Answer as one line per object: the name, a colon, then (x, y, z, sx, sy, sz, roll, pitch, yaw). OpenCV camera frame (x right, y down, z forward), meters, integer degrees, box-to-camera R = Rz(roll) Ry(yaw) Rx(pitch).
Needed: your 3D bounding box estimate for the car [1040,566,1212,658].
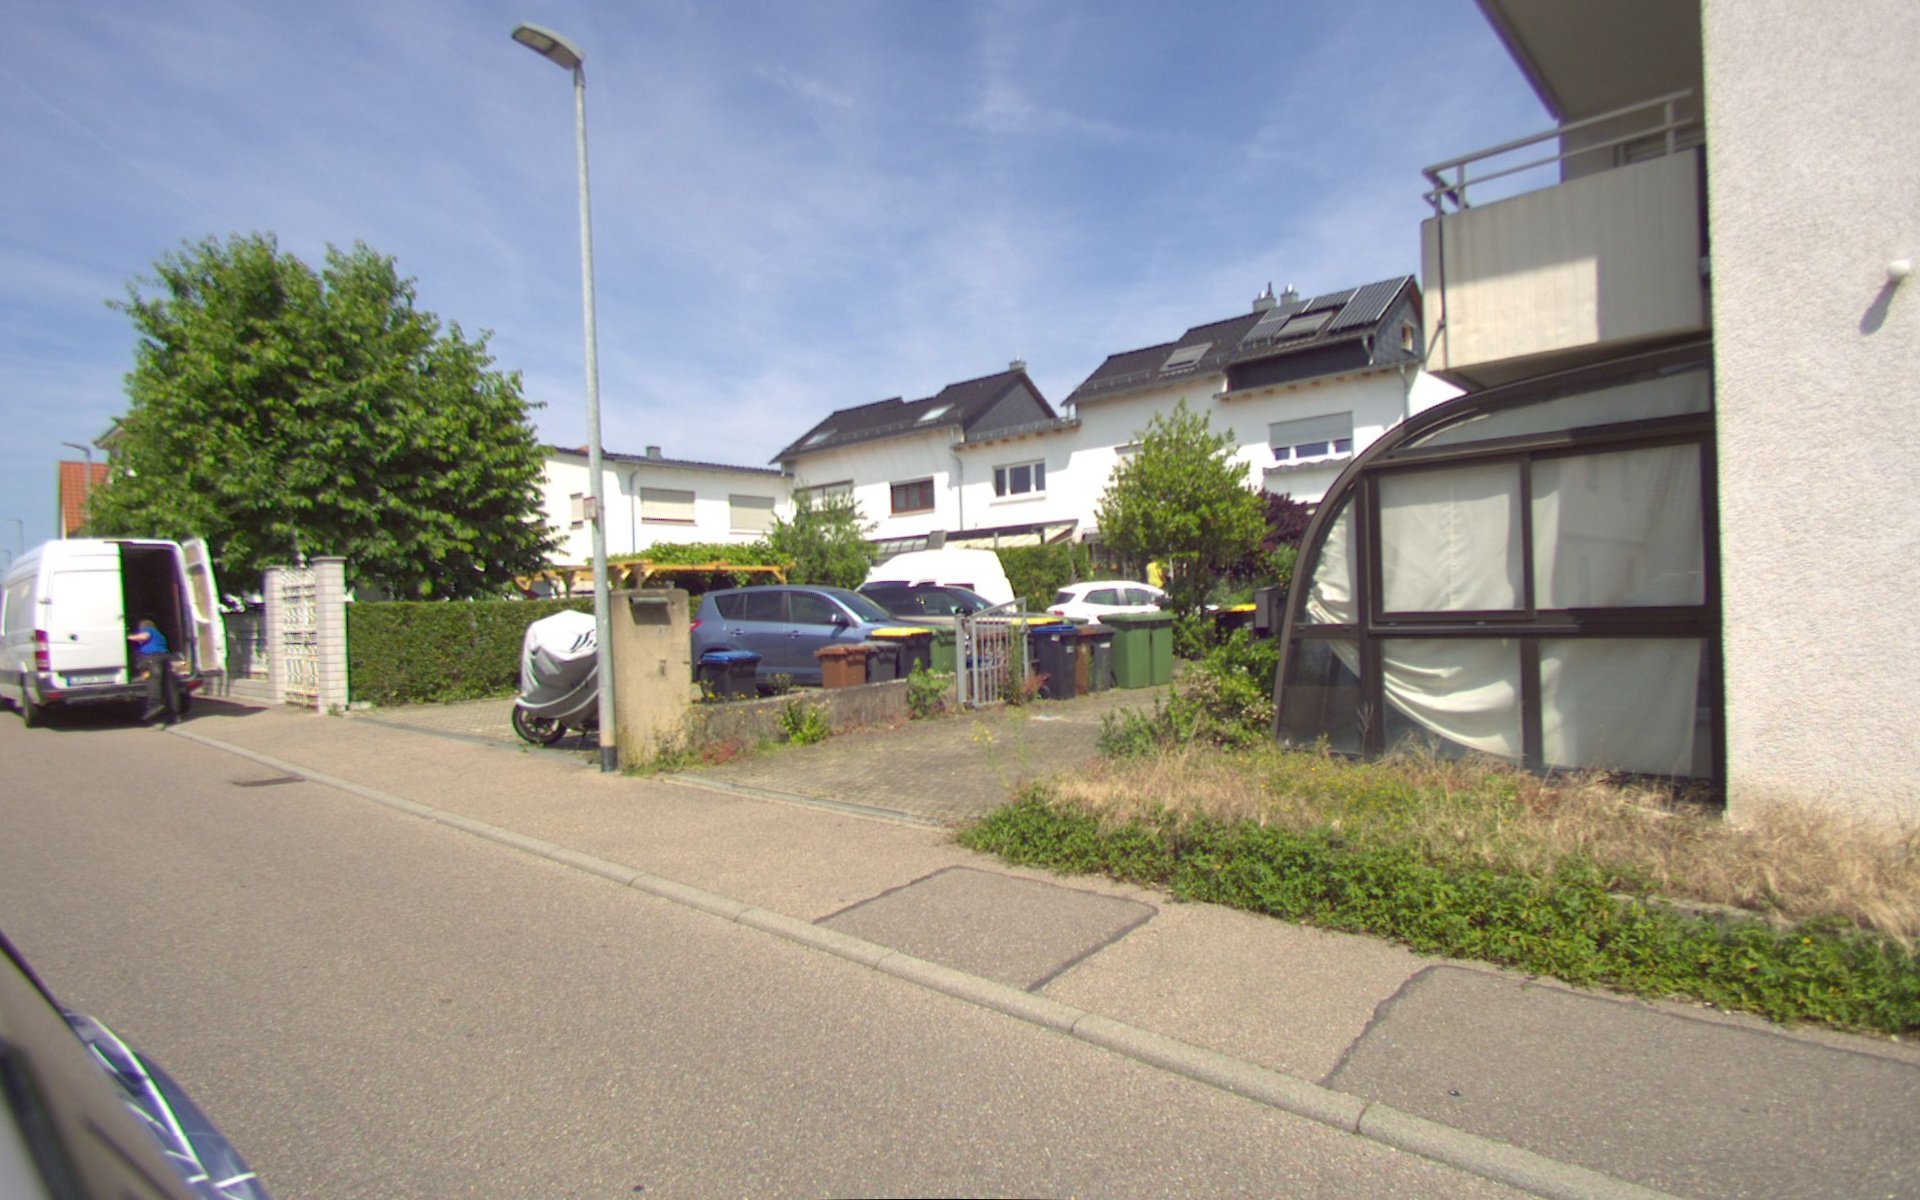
car: (3.435, 0.241, 21.023, 3.319, 1.691, 1.768, -3, 0, 11)

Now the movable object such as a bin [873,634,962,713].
movable object such as a bin: (-0.530, 0.899, 12.641, 0.773, 0.912, 0.791, -2, -1, 41)

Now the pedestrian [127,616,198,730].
pedestrian: (-11.238, 1.009, 14.264, 0.725, 1.529, 0.566, -2, 2, 40)

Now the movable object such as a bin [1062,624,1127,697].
movable object such as a bin: (1.794, 0.792, 13.483, 0.478, 0.905, 0.804, -2, 0, 40)

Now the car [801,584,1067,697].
car: (-0.453, 0.657, 16.830, 4.084, 1.691, 1.719, -1, -1, 25)

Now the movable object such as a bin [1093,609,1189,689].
movable object such as a bin: (2.598, 0.674, 14.448, 0.859, 1.049, 1.173, -2, 0, 40)

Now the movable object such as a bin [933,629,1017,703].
movable object such as a bin: (0.206, 0.853, 13.343, 0.773, 0.912, 0.792, -2, -1, 39)

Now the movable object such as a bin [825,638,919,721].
movable object such as a bin: (-1.045, 0.921, 12.015, 0.773, 0.912, 0.791, -2, -1, 41)

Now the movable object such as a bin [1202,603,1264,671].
movable object such as a bin: (4.520, 0.599, 16.737, 0.772, 1.069, 0.781, -2, 0, 32)

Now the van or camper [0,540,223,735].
van or camper: (-14.331, 0.559, 16.555, 6.803, 2.591, 2.162, -2, 0, 41)

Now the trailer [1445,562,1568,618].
trailer: (14.430, -0.277, 26.577, 2.042, 1.317, 4.710, -2, 0, 38)

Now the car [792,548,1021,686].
car: (-0.970, 0.302, 20.865, 1.964, 2.511, 4.753, -2, -1, 40)

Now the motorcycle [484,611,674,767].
motorcycle: (-3.908, 0.838, 10.256, 2.352, 1.403, 0.775, -2, -1, 42)

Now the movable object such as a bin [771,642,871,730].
movable object such as a bin: (-1.563, 0.945, 11.402, 0.773, 0.912, 0.791, -2, -1, 41)

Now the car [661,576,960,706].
car: (-2.129, 0.581, 14.642, 3.905, 1.691, 1.764, -1, -1, 17)
